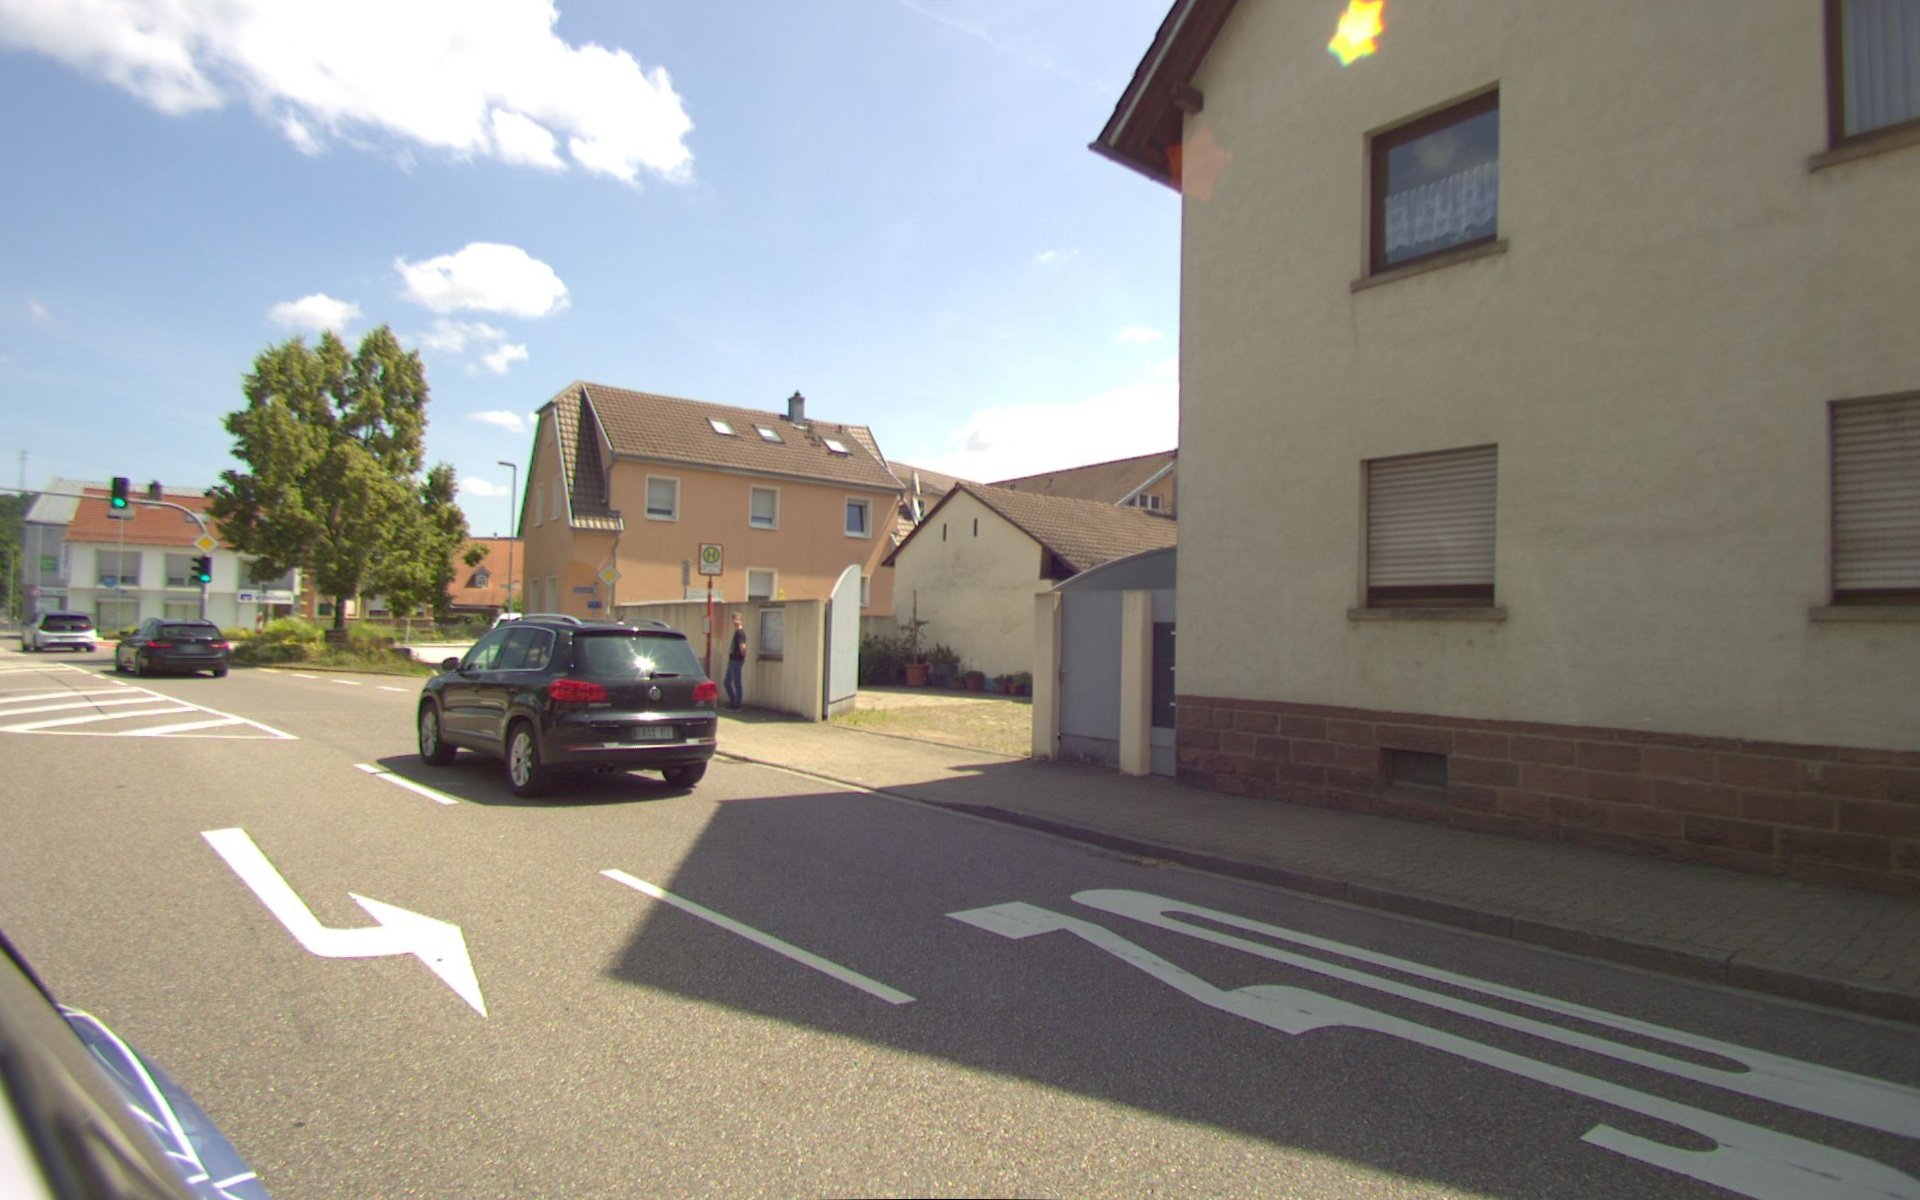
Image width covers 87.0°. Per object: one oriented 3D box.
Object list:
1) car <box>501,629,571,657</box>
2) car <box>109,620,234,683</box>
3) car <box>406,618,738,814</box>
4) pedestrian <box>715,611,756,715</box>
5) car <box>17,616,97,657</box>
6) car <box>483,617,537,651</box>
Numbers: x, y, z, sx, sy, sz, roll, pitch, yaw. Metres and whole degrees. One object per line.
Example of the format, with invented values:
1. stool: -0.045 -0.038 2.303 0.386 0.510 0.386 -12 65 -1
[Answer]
1. car: -28.597 2.864 68.386 1.995 1.663 3.953 -1 0 34
2. car: -20.270 1.266 25.951 4.531 1.467 1.761 -1 -3 43
3. car: -4.129 1.018 10.420 1.728 1.623 4.003 3 -3 -44
4. pedestrian: -3.910 1.080 17.644 0.476 1.777 0.467 0 -3 28
5. car: -33.988 1.355 38.043 4.531 1.467 1.761 -1 -3 43
6. car: -35.635 2.640 80.298 1.973 2.464 5.208 -1 0 1
